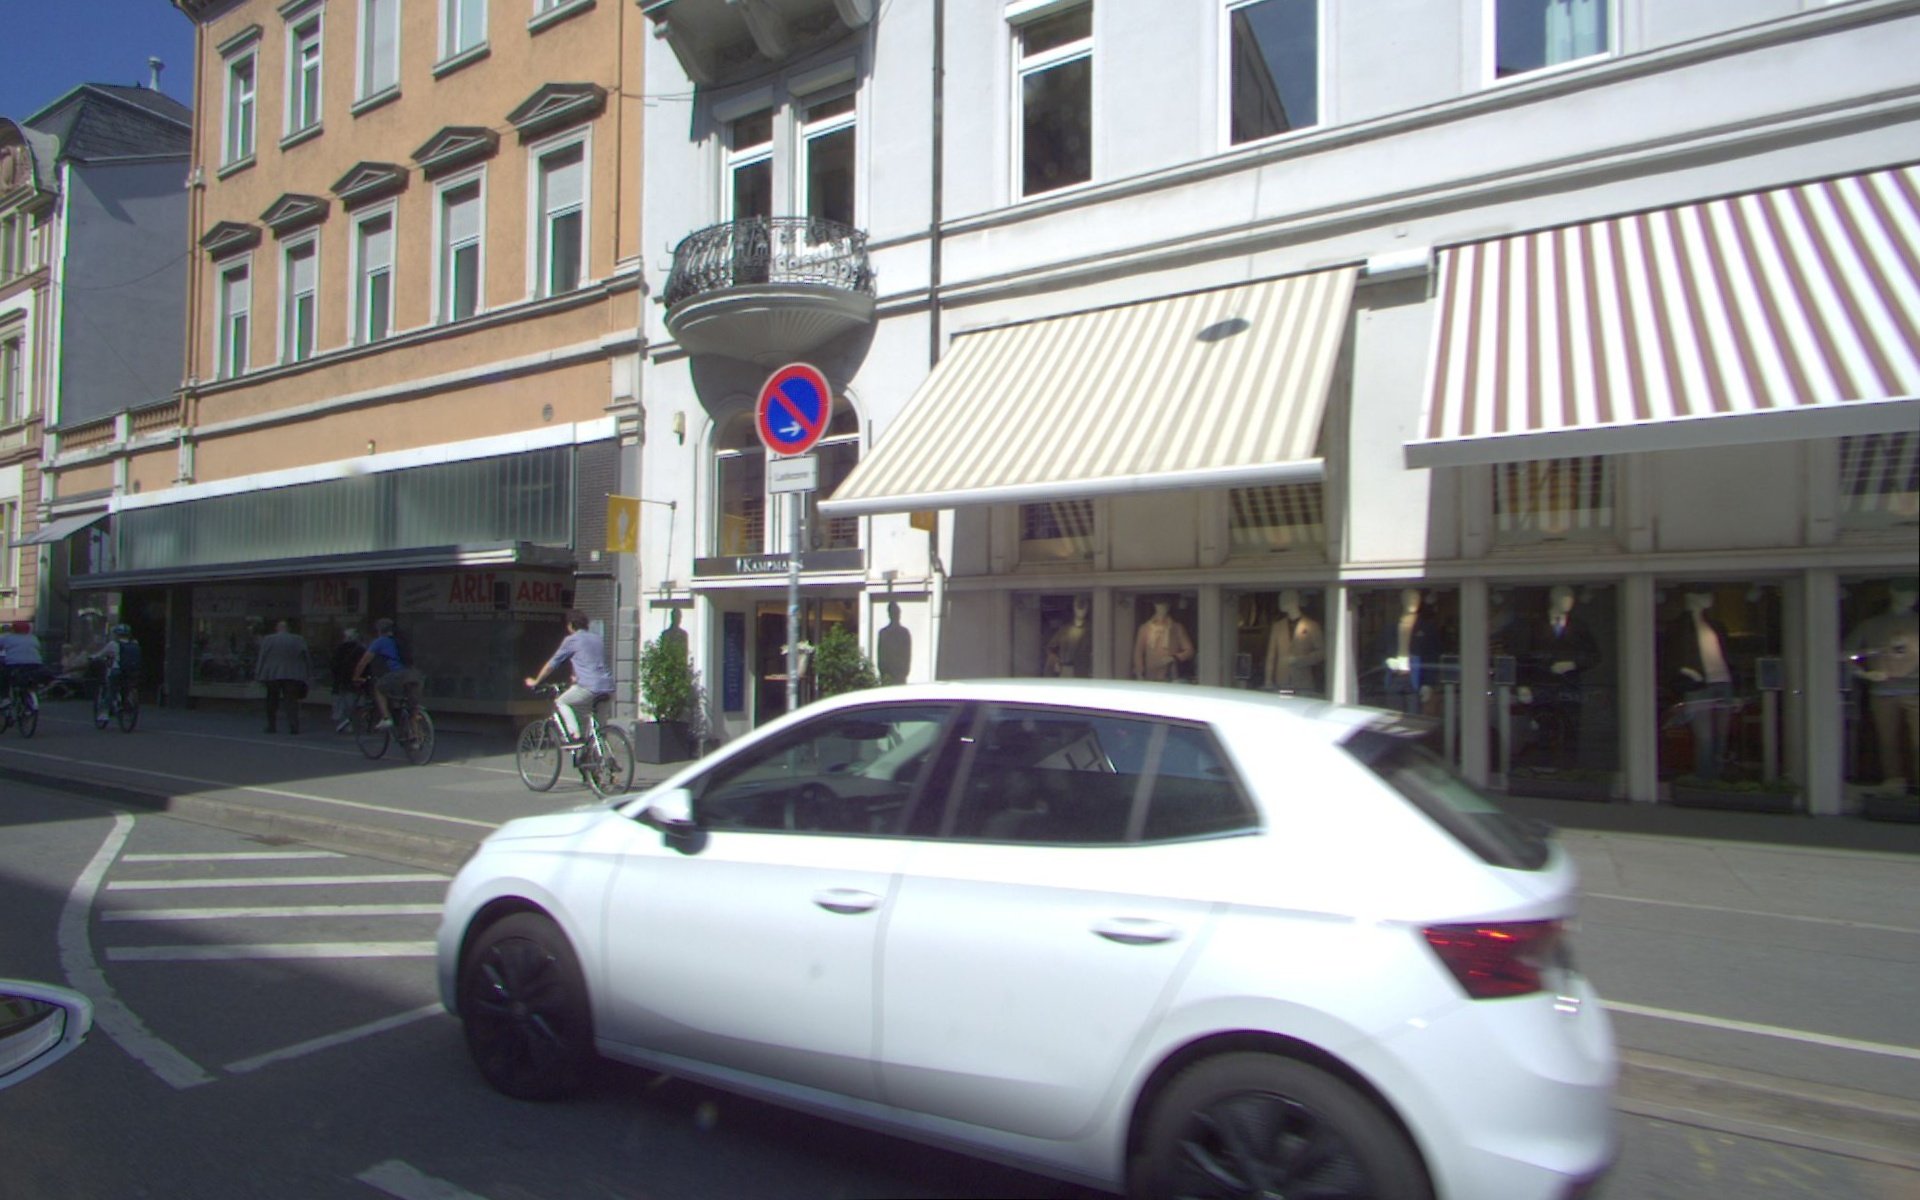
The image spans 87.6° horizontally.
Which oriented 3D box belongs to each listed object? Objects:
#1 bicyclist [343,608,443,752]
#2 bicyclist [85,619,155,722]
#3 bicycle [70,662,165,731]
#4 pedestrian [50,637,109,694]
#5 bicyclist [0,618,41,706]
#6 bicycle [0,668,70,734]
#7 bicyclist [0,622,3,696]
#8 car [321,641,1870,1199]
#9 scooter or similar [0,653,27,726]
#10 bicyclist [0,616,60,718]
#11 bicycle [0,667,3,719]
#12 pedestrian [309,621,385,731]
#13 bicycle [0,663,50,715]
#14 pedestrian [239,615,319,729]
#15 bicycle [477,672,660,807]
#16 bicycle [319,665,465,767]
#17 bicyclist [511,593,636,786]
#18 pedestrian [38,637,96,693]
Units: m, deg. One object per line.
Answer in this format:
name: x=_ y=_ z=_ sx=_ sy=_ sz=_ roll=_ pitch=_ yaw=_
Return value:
bicyclist: x=-7.034 y=0.964 z=12.421 sx=0.998 sy=1.706 sz=0.646 roll=0 pitch=-2 yaw=31
bicyclist: x=-13.546 y=1.117 z=16.146 sx=0.907 sy=1.615 sz=0.581 roll=0 pitch=-2 yaw=32
bicycle: x=-13.649 y=1.539 z=16.205 sx=2.073 sy=1.009 sz=0.563 roll=-1 pitch=-2 yaw=32
pedestrian: x=-20.735 y=1.537 z=23.584 sx=0.560 sy=1.285 sz=0.933 roll=0 pitch=0 yaw=36
bicyclist: x=-18.057 y=1.168 z=19.010 sx=0.907 sy=1.615 sz=0.657 roll=-1 pitch=-2 yaw=32
bicycle: x=-14.442 y=1.522 z=15.343 sx=2.073 sy=0.890 sz=0.646 roll=-1 pitch=-2 yaw=32
bicyclist: x=-16.916 y=1.007 z=17.145 sx=0.599 sy=1.264 sz=0.622 roll=0 pitch=-2 yaw=32
car: x=-0.004 y=0.992 z=3.596 sx=4.508 sy=1.484 sz=1.814 roll=1 pitch=-4 yaw=28
scooter or similar: x=-16.144 y=1.460 z=16.416 sx=1.598 sy=1.136 sz=0.869 roll=-1 pitch=0 yaw=32
bicyclist: x=-14.307 y=1.007 z=15.268 sx=0.877 sy=1.495 sz=0.624 roll=0 pitch=-2 yaw=32
bicycle: x=-17.669 y=1.615 z=17.621 sx=2.355 sy=0.890 sz=0.646 roll=-1 pitch=-3 yaw=32
pedestrian: x=-9.797 y=1.190 z=16.009 sx=0.931 sy=1.706 sz=0.646 roll=0 pitch=-2 yaw=31
bicycle: x=-18.058 y=1.663 z=18.983 sx=2.073 sy=0.890 sz=0.646 roll=-1 pitch=-3 yaw=32
pedestrian: x=-10.802 y=1.144 z=15.890 sx=0.826 sy=1.739 sz=0.874 roll=-4 pitch=-4 yaw=41
bicycle: x=-3.894 y=1.327 z=9.896 sx=2.042 sy=1.135 sz=0.554 roll=0 pitch=0 yaw=31
bicycle: x=-7.092 y=1.404 z=12.471 sx=2.072 sy=1.134 sz=0.646 roll=-1 pitch=-2 yaw=32
bicyclist: x=-3.808 y=0.853 z=9.862 sx=0.998 sy=1.791 sz=0.646 roll=0 pitch=-2 yaw=31
pedestrian: x=-21.324 y=1.535 z=23.906 sx=0.560 sy=1.285 sz=0.933 roll=0 pitch=0 yaw=36
